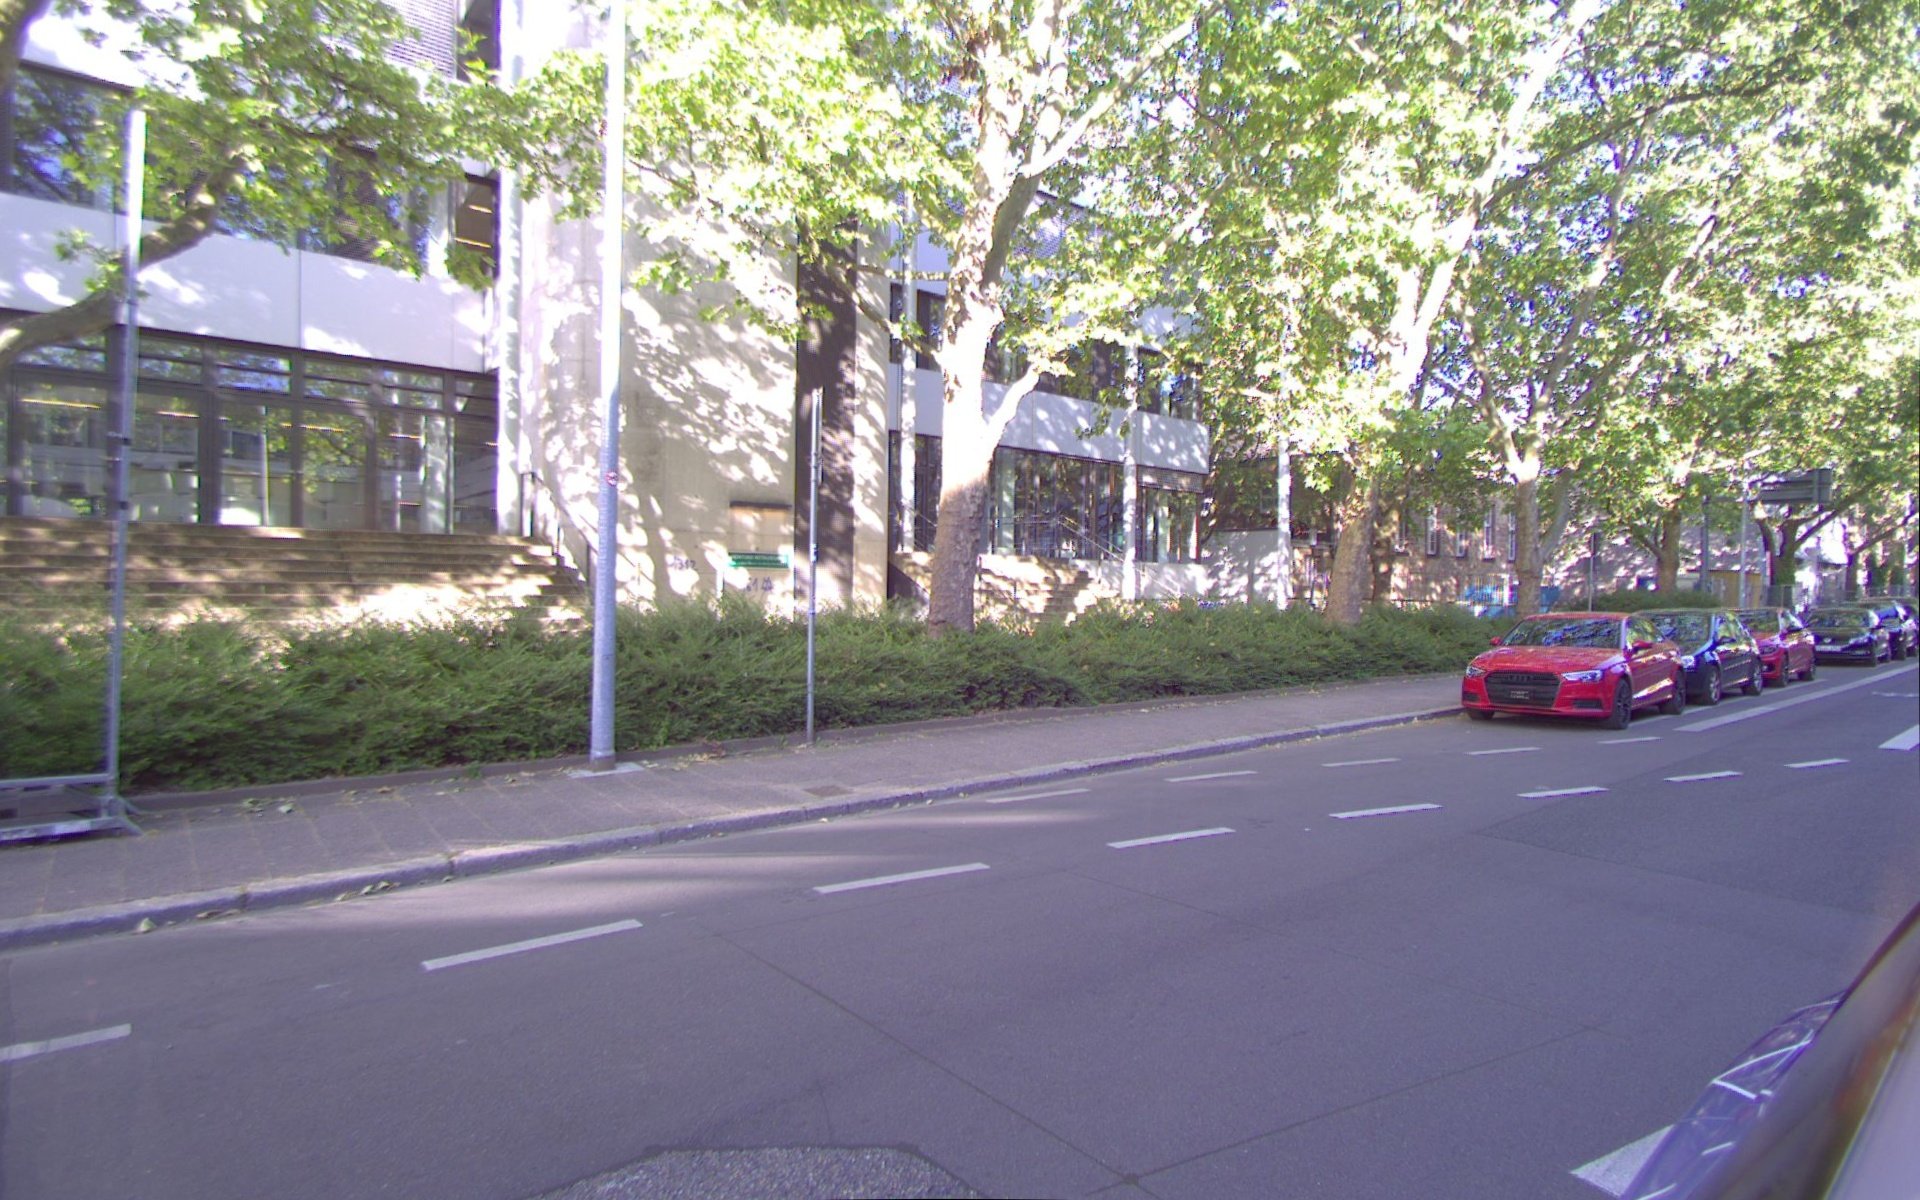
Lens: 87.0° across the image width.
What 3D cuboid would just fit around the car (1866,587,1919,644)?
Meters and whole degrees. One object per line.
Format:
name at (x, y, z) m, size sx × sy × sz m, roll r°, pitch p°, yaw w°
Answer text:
car at (31.058, 0.479, 33.016) m, size 4.271 × 1.777 × 1.788 m, roll 0°, pitch -1°, yaw -42°

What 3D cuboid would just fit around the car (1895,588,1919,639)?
car at (35.911, 0.473, 37.252) m, size 4.475 × 1.777 × 1.788 m, roll 0°, pitch -1°, yaw -42°

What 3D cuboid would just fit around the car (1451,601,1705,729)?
car at (8.362, 0.746, 13.547) m, size 4.092 × 1.431 × 1.815 m, roll 0°, pitch -1°, yaw -42°

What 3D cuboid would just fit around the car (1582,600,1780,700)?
car at (11.955, 0.731, 16.687) m, size 4.092 × 1.431 × 1.815 m, roll 0°, pitch -1°, yaw -42°

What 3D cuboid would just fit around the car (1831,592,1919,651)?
car at (26.598, 0.580, 29.134) m, size 4.092 × 1.573 × 1.788 m, roll 0°, pitch -1°, yaw -42°

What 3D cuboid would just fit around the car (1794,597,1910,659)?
car at (23.053, 0.671, 26.102) m, size 4.092 × 1.478 × 1.788 m, roll 0°, pitch -1°, yaw -42°

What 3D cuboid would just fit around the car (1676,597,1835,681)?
car at (15.861, 0.693, 20.108) m, size 4.092 × 1.502 × 1.815 m, roll 0°, pitch -1°, yaw -42°

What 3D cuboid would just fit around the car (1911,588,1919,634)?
car at (39.628, 0.428, 40.403) m, size 4.475 × 1.777 × 2.040 m, roll 0°, pitch -1°, yaw -42°
